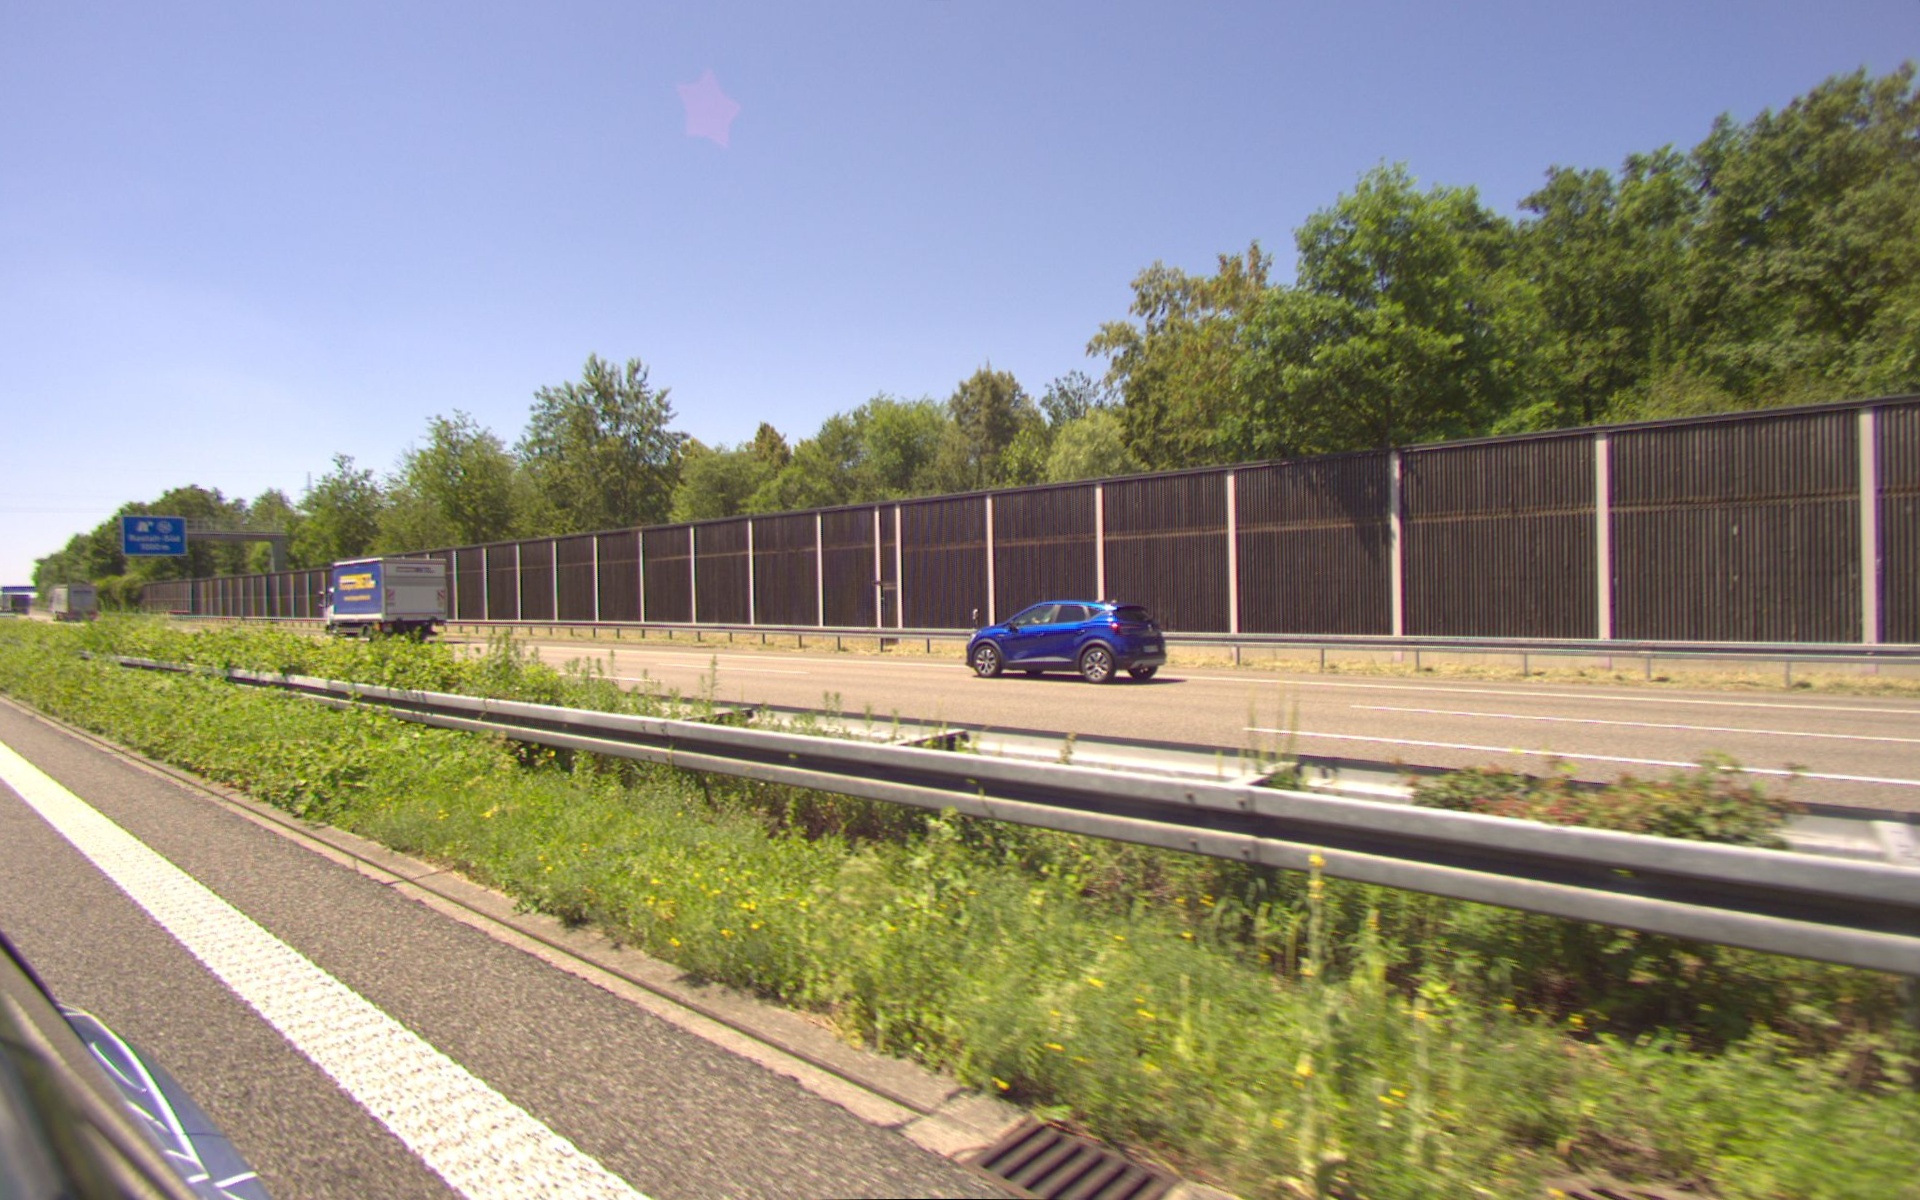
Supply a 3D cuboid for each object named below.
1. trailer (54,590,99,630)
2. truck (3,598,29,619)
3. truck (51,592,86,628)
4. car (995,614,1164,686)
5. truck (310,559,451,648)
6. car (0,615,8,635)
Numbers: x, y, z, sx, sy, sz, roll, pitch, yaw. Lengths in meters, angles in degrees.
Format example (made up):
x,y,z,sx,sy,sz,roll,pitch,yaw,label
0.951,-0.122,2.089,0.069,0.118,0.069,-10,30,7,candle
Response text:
x,y,z,sx,sy,sz,roll,pitch,yaw,label
-98.924,1.134,113.254,13.653,4.167,2.457,-1,-1,43,trailer
-166.162,1.555,178.082,9.953,3.632,2.838,-1,0,43,truck
-103.660,1.203,117.653,6.370,4.097,2.492,-1,-1,43,truck
2.243,0.920,19.395,3.026,1.264,1.266,-1,-1,40,car
-26.044,0.198,45.286,8.740,3.637,2.803,-1,-1,41,truck
-80.778,2.090,84.574,4.000,1.600,1.566,-1,-1,43,car
